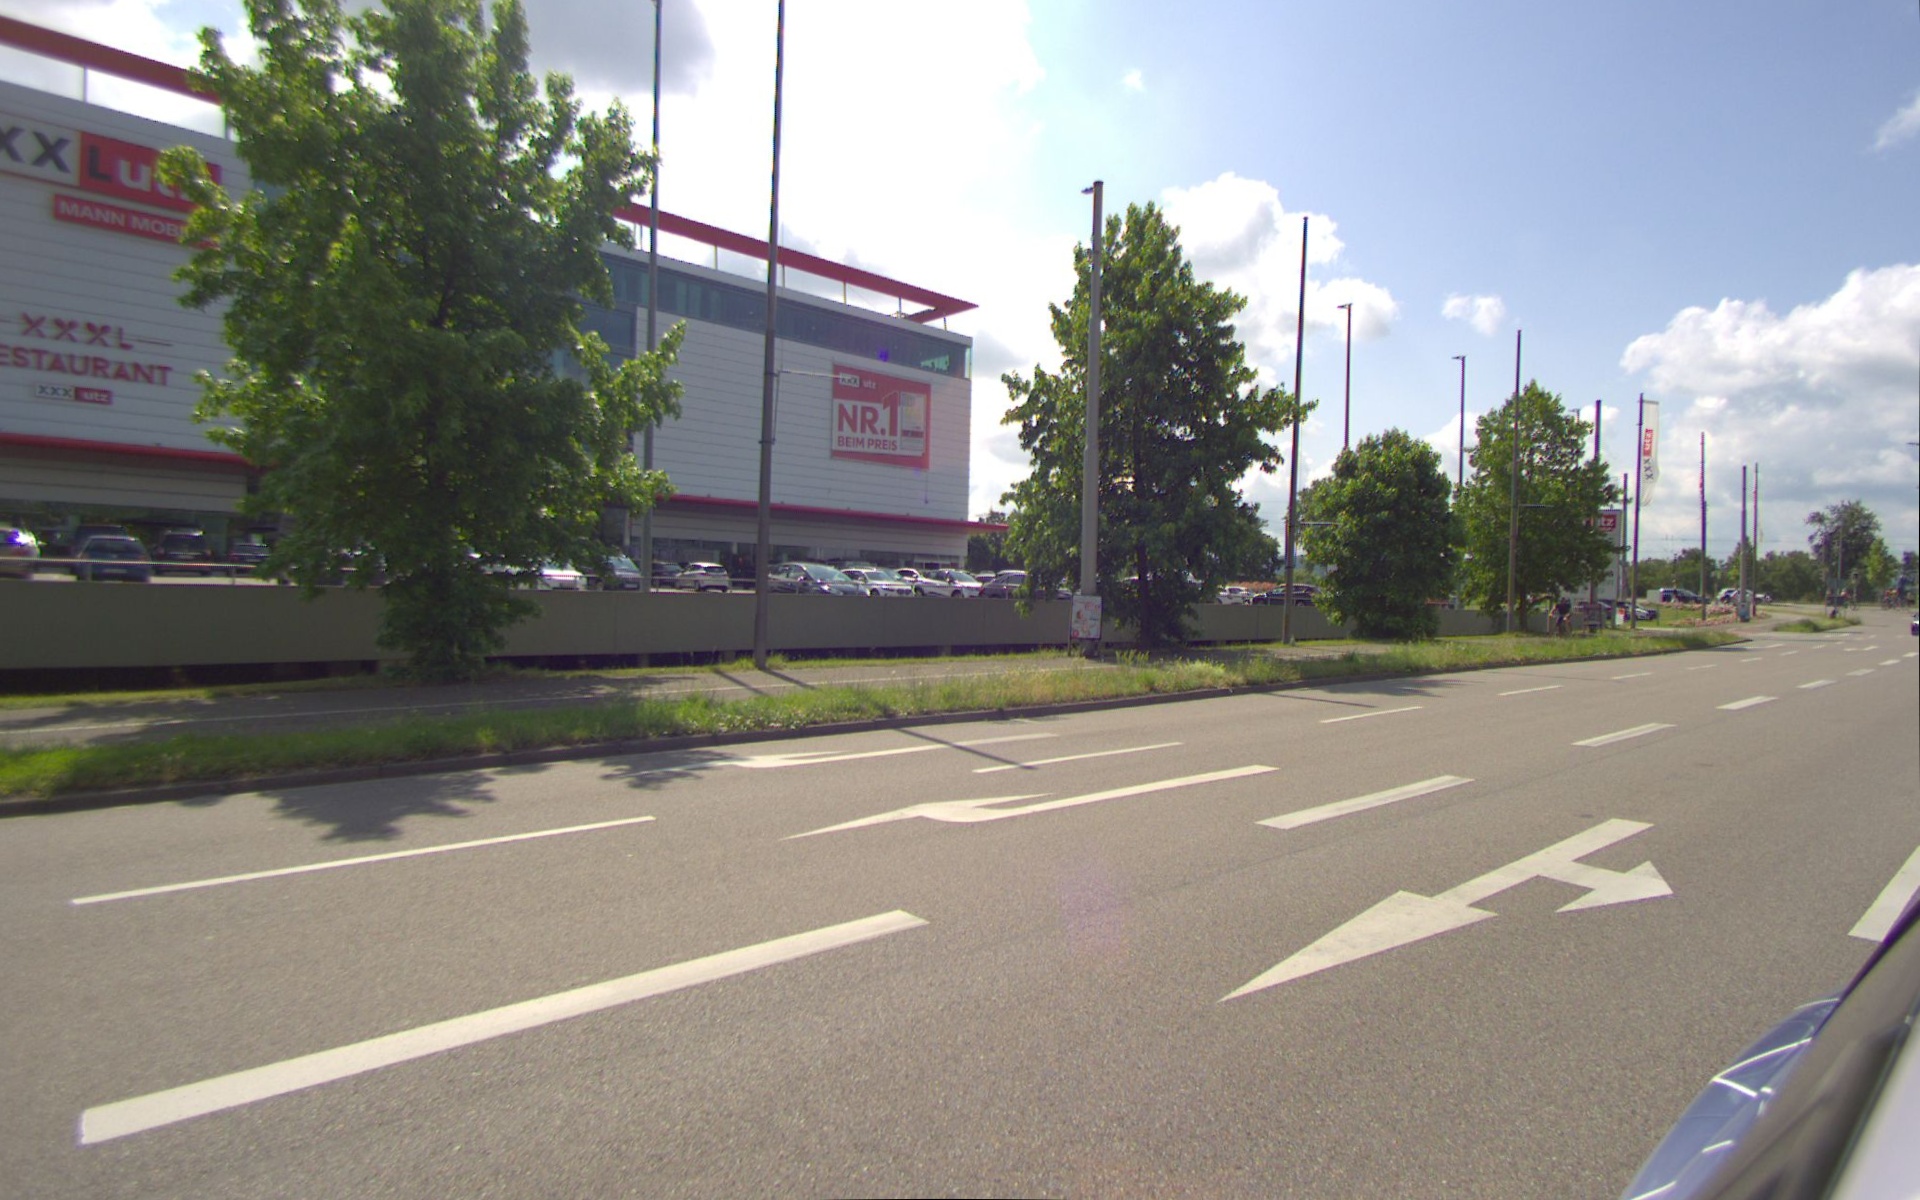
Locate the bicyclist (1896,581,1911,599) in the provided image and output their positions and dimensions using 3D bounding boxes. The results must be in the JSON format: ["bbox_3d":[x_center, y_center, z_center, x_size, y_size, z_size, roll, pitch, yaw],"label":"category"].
[{"bbox_3d":[80.523,-0.865,86.338,0.685,1.555,0.619,1,-1,6],"label":"bicyclist"}]

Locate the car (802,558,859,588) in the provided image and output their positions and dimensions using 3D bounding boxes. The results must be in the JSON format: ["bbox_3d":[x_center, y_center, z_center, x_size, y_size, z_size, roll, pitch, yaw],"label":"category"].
[{"bbox_3d":[-8.269,-1.681,64.580,1.647,1.805,3.993,1,0,-42],"label":"car"}]

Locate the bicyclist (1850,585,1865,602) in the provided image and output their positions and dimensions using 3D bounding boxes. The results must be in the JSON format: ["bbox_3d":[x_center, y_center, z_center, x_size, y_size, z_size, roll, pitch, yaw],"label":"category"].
[{"bbox_3d":[77.086,-0.558,86.962,0.731,1.494,0.649,1,-1,10],"label":"bicyclist"}]

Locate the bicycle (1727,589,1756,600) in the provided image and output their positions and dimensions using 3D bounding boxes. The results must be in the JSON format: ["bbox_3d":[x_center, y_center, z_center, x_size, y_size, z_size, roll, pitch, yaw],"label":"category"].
[{"bbox_3d":[68.923,-0.482,89.264,1.966,0.973,0.592,1,-1,24],"label":"bicycle"}]

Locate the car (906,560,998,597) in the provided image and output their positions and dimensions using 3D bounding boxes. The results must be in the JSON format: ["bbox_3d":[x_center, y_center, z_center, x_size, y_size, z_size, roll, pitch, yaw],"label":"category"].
[{"bbox_3d":[-0.393,-0.958,45.527,1.967,1.591,3.990,0,1,-44],"label":"car"}]

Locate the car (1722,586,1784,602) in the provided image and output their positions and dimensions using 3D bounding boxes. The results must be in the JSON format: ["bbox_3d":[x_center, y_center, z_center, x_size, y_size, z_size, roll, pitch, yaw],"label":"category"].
[{"bbox_3d":[76.055,-0.563,97.108,1.981,1.430,4.485,0,2,-45],"label":"car"}]

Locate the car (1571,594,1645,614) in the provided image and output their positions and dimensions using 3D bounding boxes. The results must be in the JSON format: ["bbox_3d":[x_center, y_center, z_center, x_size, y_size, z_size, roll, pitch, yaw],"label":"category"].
[{"bbox_3d":[48.112,0.280,75.192,1.825,1.434,4.365,0,0,-41],"label":"car"}]

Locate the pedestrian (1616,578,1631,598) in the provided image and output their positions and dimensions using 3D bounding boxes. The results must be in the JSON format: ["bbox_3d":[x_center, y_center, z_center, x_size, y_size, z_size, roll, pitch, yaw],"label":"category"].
[{"bbox_3d":[61.333,-1.082,93.576,0.744,1.825,0.823,0,0,-15],"label":"pedestrian"}]

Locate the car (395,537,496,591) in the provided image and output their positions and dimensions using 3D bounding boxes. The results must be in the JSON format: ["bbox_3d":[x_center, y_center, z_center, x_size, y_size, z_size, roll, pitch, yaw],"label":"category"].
[{"bbox_3d":[-15.812,-1.060,31.005,1.718,1.533,3.990,-1,1,-43],"label":"car"}]

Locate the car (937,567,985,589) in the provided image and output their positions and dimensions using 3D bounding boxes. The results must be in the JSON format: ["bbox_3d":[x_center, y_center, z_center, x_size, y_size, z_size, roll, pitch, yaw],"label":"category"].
[{"bbox_3d":[0.050,-1.874,86.641,1.966,1.745,3.991,1,0,-43],"label":"car"}]

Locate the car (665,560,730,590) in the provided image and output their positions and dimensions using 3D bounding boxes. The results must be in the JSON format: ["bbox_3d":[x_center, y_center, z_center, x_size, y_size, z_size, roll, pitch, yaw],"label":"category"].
[{"bbox_3d":[-13.680,-1.263,52.644,1.601,1.438,3.992,1,0,-42],"label":"car"}]

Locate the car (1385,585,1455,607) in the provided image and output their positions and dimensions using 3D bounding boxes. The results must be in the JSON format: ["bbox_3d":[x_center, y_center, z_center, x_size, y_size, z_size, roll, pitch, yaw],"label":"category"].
[{"bbox_3d":[34.221,-0.314,75.309,1.814,1.379,4.368,2,1,-40],"label":"car"}]

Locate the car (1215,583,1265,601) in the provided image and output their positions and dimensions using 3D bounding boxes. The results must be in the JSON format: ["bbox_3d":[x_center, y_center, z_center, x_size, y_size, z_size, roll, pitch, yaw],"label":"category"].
[{"bbox_3d":[24.265,-0.675,87.727,1.639,1.470,3.993,1,0,-41],"label":"car"}]

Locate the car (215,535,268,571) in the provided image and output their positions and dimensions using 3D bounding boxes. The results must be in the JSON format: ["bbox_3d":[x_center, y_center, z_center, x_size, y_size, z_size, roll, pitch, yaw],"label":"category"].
[{"bbox_3d":[-30.989,-1.990,43.602,1.525,1.387,3.443,1,0,-41],"label":"car"}]

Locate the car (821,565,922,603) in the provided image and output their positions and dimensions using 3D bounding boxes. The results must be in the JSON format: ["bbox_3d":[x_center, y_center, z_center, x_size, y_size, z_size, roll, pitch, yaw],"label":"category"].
[{"bbox_3d":[-3.687,-0.677,41.535,1.862,1.406,4.187,1,1,-45],"label":"car"}]

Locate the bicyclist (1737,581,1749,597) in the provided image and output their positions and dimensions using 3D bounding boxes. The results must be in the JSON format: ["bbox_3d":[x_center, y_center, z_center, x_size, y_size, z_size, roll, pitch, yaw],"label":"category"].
[{"bbox_3d":[69.015,-0.962,89.230,0.679,1.342,0.588,0,-1,23],"label":"bicyclist"}]

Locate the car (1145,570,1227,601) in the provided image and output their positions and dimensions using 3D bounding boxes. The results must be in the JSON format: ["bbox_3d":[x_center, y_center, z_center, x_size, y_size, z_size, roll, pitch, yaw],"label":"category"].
[{"bbox_3d":[12.579,-0.826,56.560,1.735,1.572,4.187,1,1,-43],"label":"car"}]

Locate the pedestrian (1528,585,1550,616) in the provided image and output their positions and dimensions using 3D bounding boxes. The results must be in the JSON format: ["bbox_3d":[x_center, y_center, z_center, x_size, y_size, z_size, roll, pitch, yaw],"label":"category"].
[{"bbox_3d":[34.915,0.027,61.009,0.856,1.805,0.783,1,-1,3],"label":"pedestrian"}]

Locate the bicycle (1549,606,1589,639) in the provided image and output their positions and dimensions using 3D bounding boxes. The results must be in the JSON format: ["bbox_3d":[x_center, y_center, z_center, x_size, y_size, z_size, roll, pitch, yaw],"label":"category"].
[{"bbox_3d":[20.837,0.753,34.604,1.934,1.081,0.624,1,1,-42],"label":"bicycle"}]

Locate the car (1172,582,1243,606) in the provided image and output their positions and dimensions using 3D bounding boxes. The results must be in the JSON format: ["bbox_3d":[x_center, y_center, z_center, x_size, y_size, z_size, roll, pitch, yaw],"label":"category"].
[{"bbox_3d":[16.262,-0.414,66.509,1.728,1.446,4.296,3,-1,-41],"label":"car"}]

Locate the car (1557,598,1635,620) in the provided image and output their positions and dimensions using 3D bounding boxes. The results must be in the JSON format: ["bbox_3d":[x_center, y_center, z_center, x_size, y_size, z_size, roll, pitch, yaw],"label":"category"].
[{"bbox_3d":[44.988,0.606,71.620,1.824,1.495,4.367,0,0,-40],"label":"car"}]

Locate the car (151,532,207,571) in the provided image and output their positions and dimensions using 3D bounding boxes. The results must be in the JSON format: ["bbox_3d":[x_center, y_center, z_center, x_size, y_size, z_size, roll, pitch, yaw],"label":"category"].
[{"bbox_3d":[-32.434,-1.974,42.005,1.606,1.461,3.903,1,0,-41],"label":"car"}]

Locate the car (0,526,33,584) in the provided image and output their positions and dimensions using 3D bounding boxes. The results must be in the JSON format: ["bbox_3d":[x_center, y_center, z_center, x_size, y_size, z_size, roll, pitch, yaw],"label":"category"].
[{"bbox_3d":[-26.673,-1.183,27.638,1.954,1.472,4.871,0,1,-43],"label":"car"}]

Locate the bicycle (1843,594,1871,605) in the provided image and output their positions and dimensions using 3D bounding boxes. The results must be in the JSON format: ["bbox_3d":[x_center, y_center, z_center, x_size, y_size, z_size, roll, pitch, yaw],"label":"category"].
[{"bbox_3d":[77.065,-0.051,86.952,1.669,0.973,0.664,1,-1,10],"label":"bicycle"}]

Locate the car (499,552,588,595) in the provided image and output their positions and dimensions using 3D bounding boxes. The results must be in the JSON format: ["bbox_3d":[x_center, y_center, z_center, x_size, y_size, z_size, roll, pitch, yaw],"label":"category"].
[{"bbox_3d":[-15.337,-0.990,37.139,1.696,1.452,4.190,1,1,-42],"label":"car"}]

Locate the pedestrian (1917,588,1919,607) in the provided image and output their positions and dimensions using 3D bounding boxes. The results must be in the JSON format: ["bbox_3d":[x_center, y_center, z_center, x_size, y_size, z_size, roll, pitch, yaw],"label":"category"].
[{"bbox_3d":[79.541,-0.224,83.592,0.460,1.543,0.585,0,-1,-33],"label":"pedestrian"}]

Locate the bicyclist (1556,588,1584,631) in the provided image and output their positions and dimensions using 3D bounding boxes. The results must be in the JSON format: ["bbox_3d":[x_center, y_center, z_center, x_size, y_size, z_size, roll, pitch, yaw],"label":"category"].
[{"bbox_3d":[20.841,0.318,34.598,0.702,1.430,0.616,1,0,-41],"label":"bicyclist"}]

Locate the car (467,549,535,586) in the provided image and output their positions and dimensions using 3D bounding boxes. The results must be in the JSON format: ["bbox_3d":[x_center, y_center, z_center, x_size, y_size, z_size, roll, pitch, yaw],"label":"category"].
[{"bbox_3d":[-20.555,-1.427,45.274,1.713,1.535,3.801,1,0,-41],"label":"car"}]

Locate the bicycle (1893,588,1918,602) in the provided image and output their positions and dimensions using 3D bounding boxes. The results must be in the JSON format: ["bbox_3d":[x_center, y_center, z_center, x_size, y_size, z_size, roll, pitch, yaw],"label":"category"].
[{"bbox_3d":[80.610,-0.422,86.311,1.479,1.180,0.620,0,0,8],"label":"bicycle"}]

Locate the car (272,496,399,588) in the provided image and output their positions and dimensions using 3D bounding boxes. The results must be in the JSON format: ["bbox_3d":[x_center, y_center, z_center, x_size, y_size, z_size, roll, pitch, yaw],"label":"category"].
[{"bbox_3d":[-18.057,-1.532,29.128,2.027,2.396,5.663,0,1,-43],"label":"car"}]

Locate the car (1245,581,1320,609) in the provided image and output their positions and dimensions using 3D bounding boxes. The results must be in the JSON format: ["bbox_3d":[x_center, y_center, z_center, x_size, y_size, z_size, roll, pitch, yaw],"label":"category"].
[{"bbox_3d":[19.812,-0.328,62.339,4.056,1.550,1.714,3,3,45],"label":"car"}]

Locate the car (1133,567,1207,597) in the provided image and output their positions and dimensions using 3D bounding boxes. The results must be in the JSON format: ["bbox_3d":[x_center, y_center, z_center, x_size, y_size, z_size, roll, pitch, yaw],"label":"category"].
[{"bbox_3d":[23.011,-1.974,111.354,3.066,3.193,7.898,-1,2,-39],"label":"car"}]

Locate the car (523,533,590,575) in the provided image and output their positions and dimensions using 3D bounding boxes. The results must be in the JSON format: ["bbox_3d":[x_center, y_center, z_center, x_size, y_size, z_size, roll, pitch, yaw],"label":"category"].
[{"bbox_3d":[-20.625,-2.289,51.669,1.965,1.976,3.993,1,0,-42],"label":"car"}]

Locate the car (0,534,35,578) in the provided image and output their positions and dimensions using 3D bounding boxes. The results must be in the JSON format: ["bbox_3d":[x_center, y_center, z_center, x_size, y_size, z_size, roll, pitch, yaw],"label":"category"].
[{"bbox_3d":[-36.717,-1.672,38.588,1.965,1.563,3.994,1,0,-41],"label":"car"}]

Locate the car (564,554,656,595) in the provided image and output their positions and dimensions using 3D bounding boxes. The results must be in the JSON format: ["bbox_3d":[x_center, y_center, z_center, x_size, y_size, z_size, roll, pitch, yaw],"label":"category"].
[{"bbox_3d":[-13.670,-0.999,39.401,1.860,1.452,4.190,1,1,-42],"label":"car"}]

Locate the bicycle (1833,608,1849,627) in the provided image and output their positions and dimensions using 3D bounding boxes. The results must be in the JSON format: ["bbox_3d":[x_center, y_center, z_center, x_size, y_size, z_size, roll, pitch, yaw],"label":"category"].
[{"bbox_3d":[47.432,0.951,54.480,1.518,0.964,0.517,-1,0,-43],"label":"bicycle"}]

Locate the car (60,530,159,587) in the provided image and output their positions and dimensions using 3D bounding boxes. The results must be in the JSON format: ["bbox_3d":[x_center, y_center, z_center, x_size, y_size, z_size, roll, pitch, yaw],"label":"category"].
[{"bbox_3d":[-24.855,-1.150,29.501,1.954,1.502,4.871,0,1,-43],"label":"car"}]

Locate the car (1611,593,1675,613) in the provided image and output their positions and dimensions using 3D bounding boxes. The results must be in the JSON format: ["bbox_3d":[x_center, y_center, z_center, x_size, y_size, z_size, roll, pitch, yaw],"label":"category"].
[{"bbox_3d":[55.213,0.223,81.831,1.687,1.436,3.991,-1,1,-43],"label":"car"}]

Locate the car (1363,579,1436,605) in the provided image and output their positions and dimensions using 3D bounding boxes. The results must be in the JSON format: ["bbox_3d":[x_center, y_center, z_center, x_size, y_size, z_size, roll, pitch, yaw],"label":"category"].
[{"bbox_3d":[28.515,-0.556,65.739,1.666,1.608,4.019,2,0,-43],"label":"car"}]

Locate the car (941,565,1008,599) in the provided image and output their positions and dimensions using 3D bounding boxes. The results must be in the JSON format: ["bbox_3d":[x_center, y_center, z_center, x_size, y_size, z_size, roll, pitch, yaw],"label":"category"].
[{"bbox_3d":[0.870,-1.094,62.793,1.965,2.039,3.993,1,-1,-41],"label":"car"}]

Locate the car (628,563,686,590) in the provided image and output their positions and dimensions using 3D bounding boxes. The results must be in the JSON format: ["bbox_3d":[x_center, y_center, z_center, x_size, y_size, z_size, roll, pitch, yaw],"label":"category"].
[{"bbox_3d":[-17.041,-1.280,56.828,1.601,1.438,3.992,1,0,-42],"label":"car"}]

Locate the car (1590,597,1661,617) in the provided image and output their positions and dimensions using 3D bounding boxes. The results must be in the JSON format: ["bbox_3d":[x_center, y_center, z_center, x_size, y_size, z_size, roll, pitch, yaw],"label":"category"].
[{"bbox_3d":[51.909,0.517,78.989,1.765,1.458,4.366,0,1,-41],"label":"car"}]

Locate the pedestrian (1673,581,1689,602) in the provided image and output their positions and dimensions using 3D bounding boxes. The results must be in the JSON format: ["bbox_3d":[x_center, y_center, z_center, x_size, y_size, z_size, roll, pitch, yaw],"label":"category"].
[{"bbox_3d":[63.961,-0.760,89.768,0.864,1.787,0.849,6,1,44],"label":"pedestrian"}]
